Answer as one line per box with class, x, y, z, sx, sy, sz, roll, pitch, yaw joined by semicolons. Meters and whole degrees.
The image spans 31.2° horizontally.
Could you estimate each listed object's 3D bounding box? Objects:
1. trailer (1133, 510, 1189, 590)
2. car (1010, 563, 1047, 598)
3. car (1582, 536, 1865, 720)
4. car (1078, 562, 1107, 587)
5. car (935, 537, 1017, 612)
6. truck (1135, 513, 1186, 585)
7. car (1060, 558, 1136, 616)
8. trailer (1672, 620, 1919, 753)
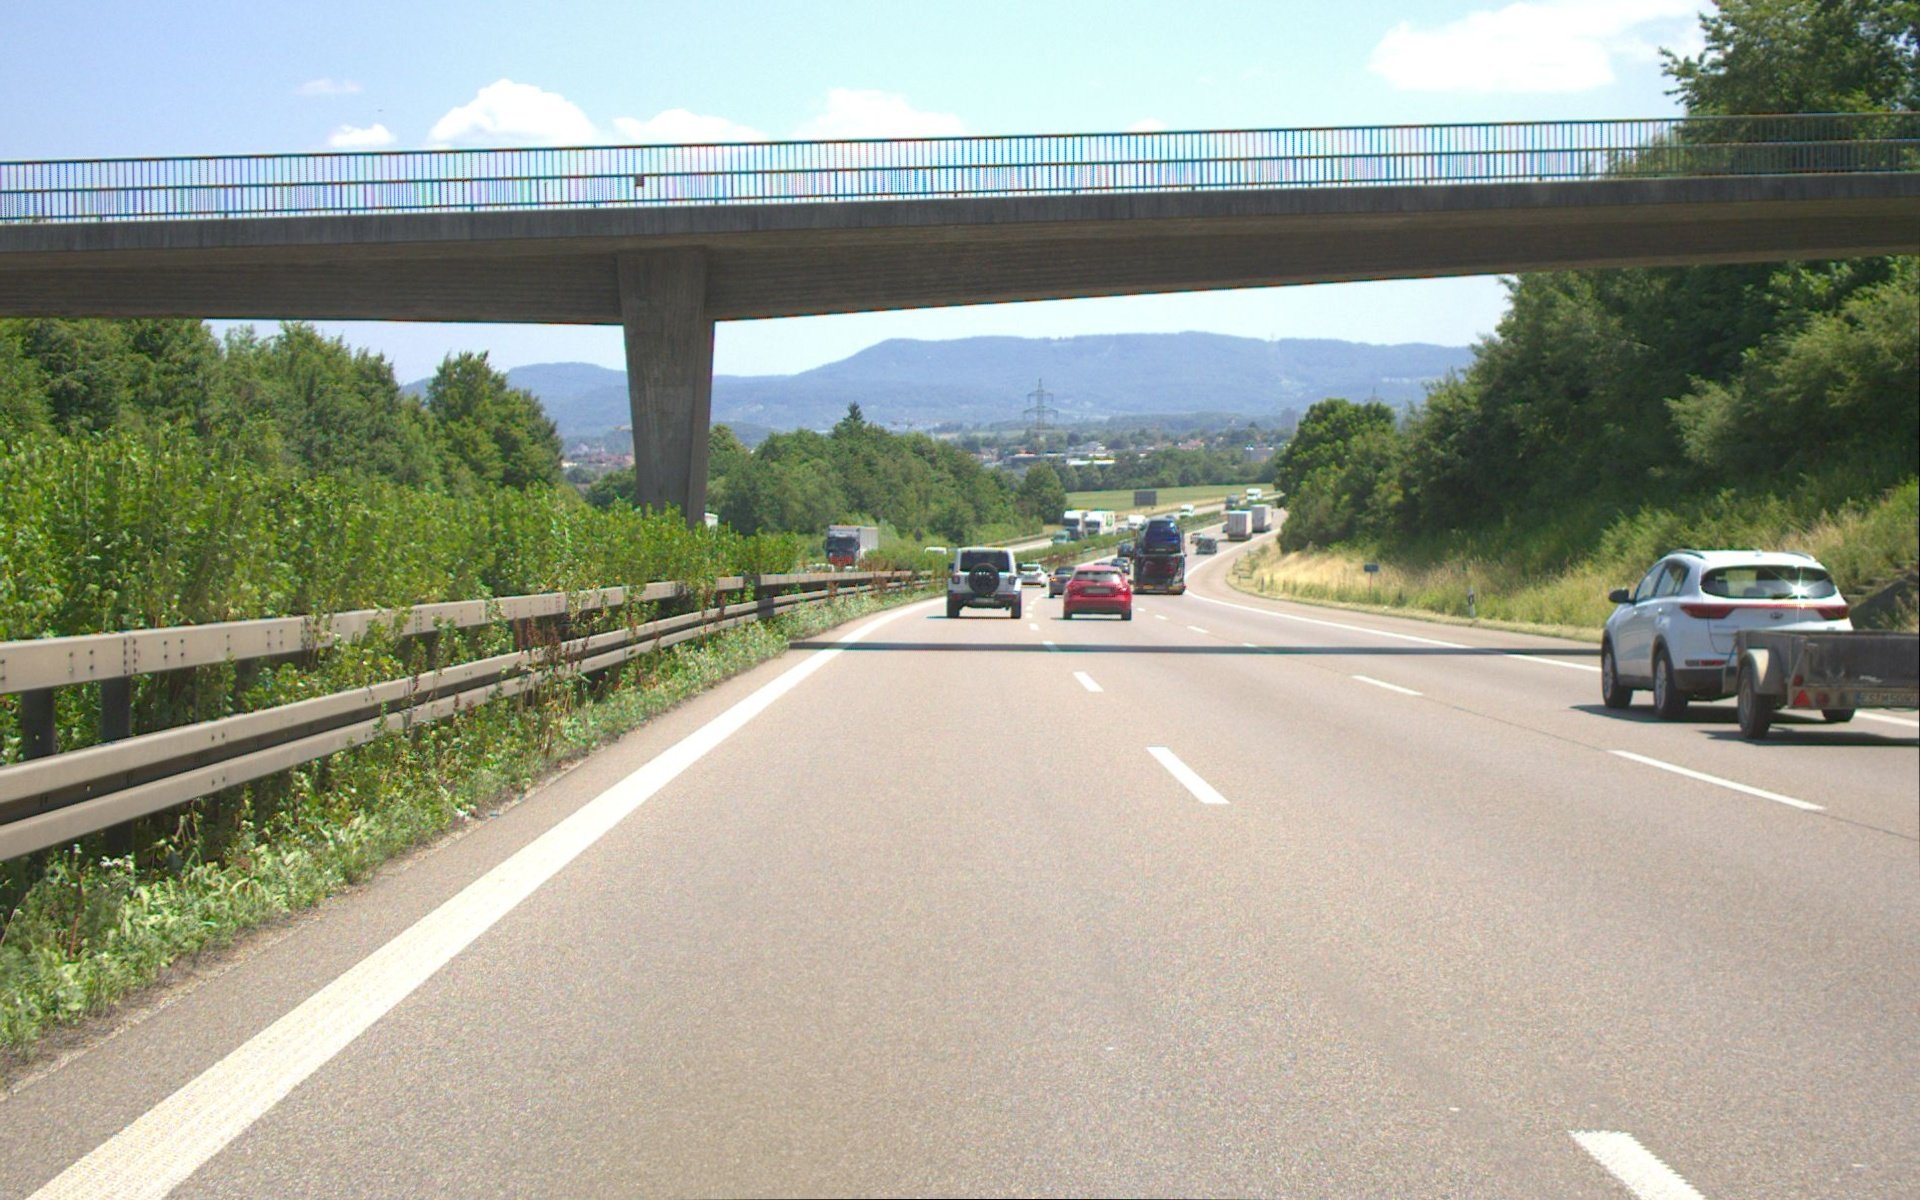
trailer;10.803;-2.772;185.056;2.855;3.979;15.396;1;2;3
car;4.268;-1.214;212.820;1.698;2.006;3.821;1;2;10
car;7.577;0.221;34.520;1.781;1.645;4.403;1;2;-1
car;9.549;-1.857;248.141;1.636;1.699;3.400;1;2;10
car;0.399;-0.694;90.426;2.083;1.823;4.754;1;2;0
truck;11.212;-2.888;192.656;2.754;3.839;6.644;1;2;3
car;3.612;-0.363;90.470;1.686;1.374;3.949;1;2;-2
trailer;7.608;0.719;30.163;1.754;0.905;4.320;1;2;-1
